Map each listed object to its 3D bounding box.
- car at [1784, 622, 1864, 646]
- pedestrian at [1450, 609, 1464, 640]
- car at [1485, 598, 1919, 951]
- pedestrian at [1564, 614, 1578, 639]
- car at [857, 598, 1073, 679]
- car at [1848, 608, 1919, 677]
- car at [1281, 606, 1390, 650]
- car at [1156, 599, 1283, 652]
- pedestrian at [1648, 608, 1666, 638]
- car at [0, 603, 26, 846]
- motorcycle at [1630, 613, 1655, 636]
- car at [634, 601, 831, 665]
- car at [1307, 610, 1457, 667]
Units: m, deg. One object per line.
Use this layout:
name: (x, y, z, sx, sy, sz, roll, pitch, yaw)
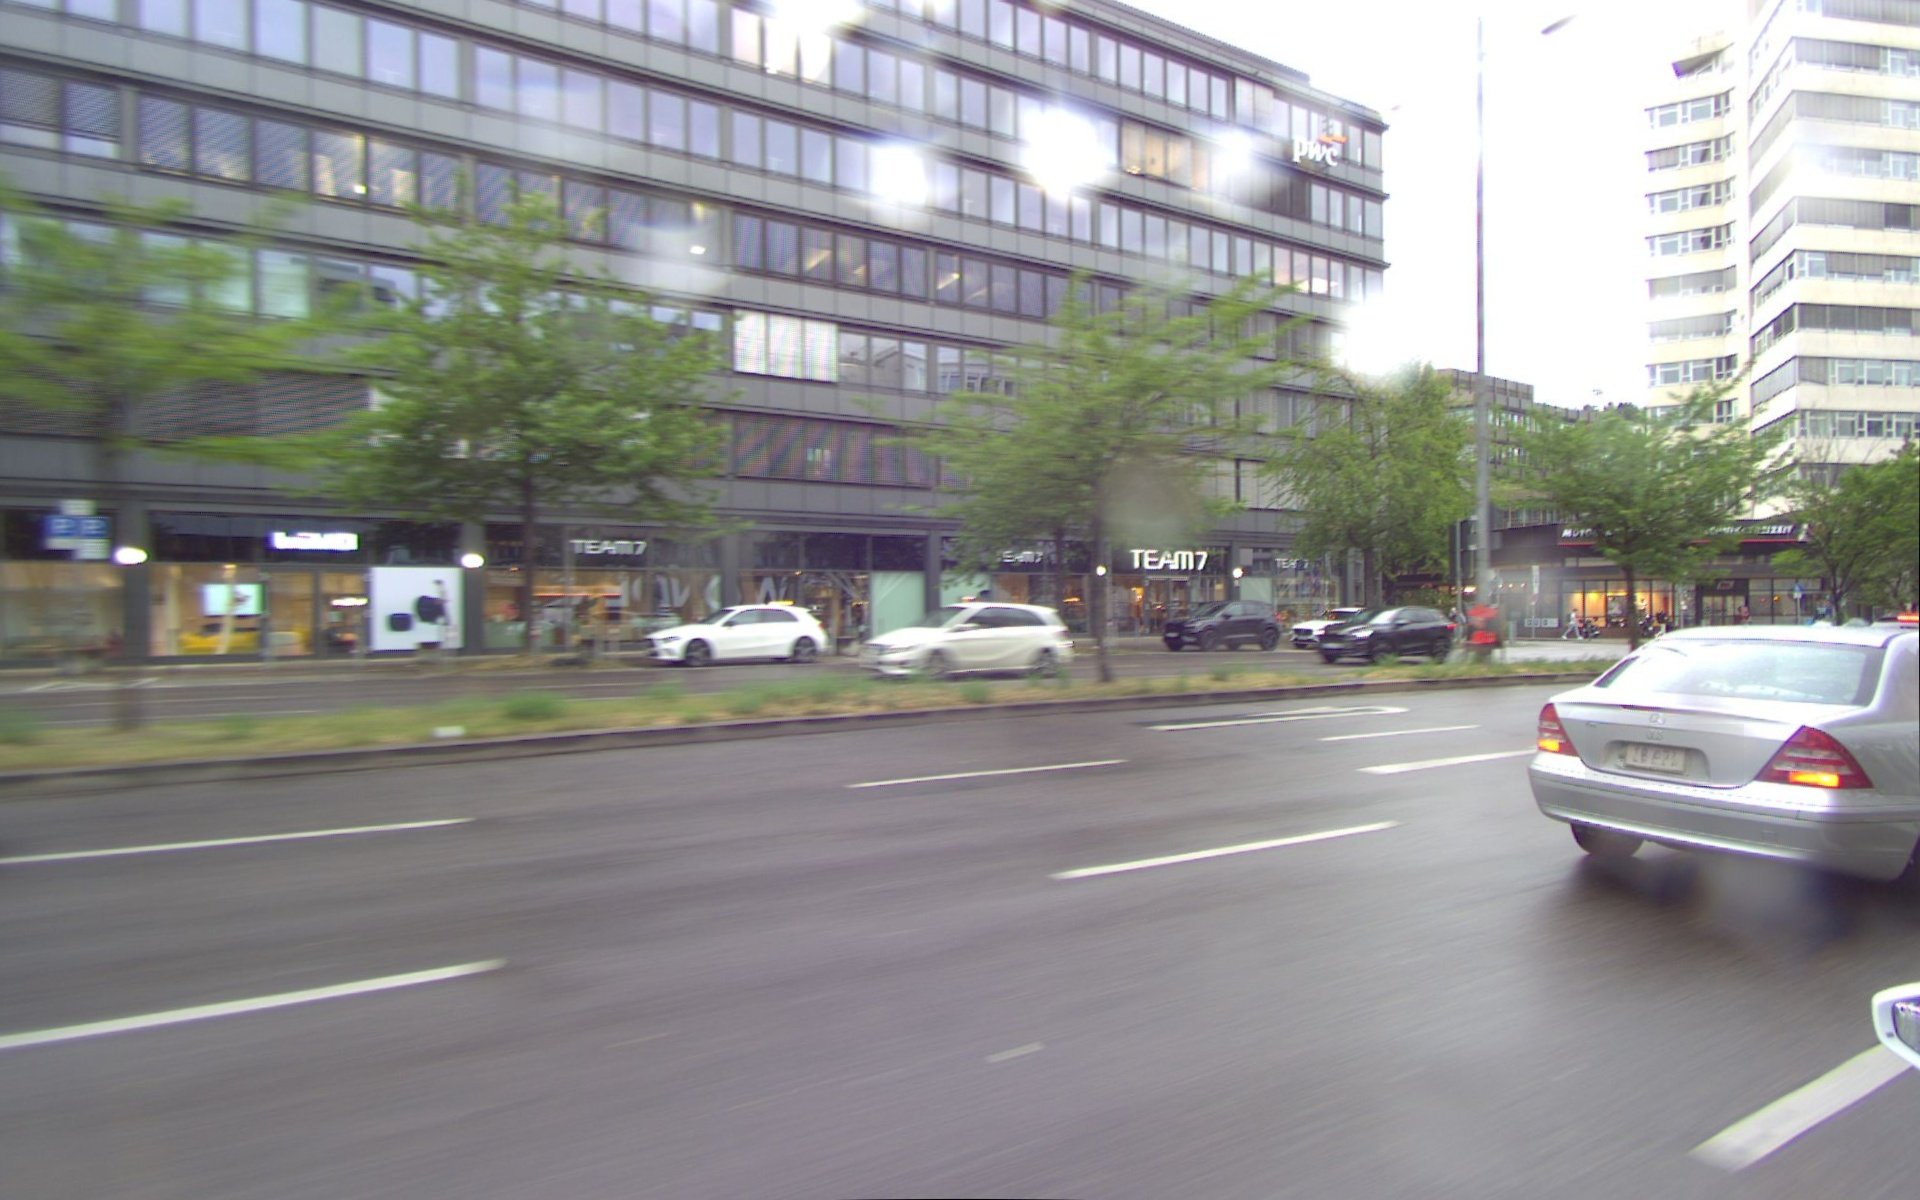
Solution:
car: (40.778, 1.582, 47.416, 3.950, 1.105, 1.574, 1, -1, -28)
pedestrian: (25.408, 1.250, 51.333, 0.591, 1.523, 0.437, 0, 0, 22)
car: (5.285, 0.779, 6.102, 4.309, 1.499, 1.664, 1, 0, -30)
pedestrian: (36.874, 1.590, 60.631, 0.654, 1.523, 0.437, 0, 0, 22)
car: (0.160, 0.785, 20.698, 4.259, 1.512, 1.614, 2, -1, -32)
car: (22.081, 0.965, 22.866, 3.955, 1.476, 1.764, 2, -1, -32)
car: (13.532, 0.980, 36.148, 3.919, 1.480, 1.614, 1, 0, -32)
car: (8.540, 0.815, 32.954, 4.185, 1.632, 1.614, 1, 0, -32)
pedestrian: (40.358, 1.343, 58.190, 0.739, 1.736, 0.593, 0, 0, 22)
car: (-7.331, 0.729, 4.685, 4.079, 1.472, 1.774, 1, 0, -34)
motorcycle: (41.578, 1.494, 61.210, 0.691, 1.350, 1.822, 0, 0, 16)
car: (-5.484, 0.806, 24.449, 4.397, 1.451, 1.614, 2, -1, -32)
car: (11.645, 1.048, 27.660, 4.112, 1.472, 1.616, 2, -1, -29)
